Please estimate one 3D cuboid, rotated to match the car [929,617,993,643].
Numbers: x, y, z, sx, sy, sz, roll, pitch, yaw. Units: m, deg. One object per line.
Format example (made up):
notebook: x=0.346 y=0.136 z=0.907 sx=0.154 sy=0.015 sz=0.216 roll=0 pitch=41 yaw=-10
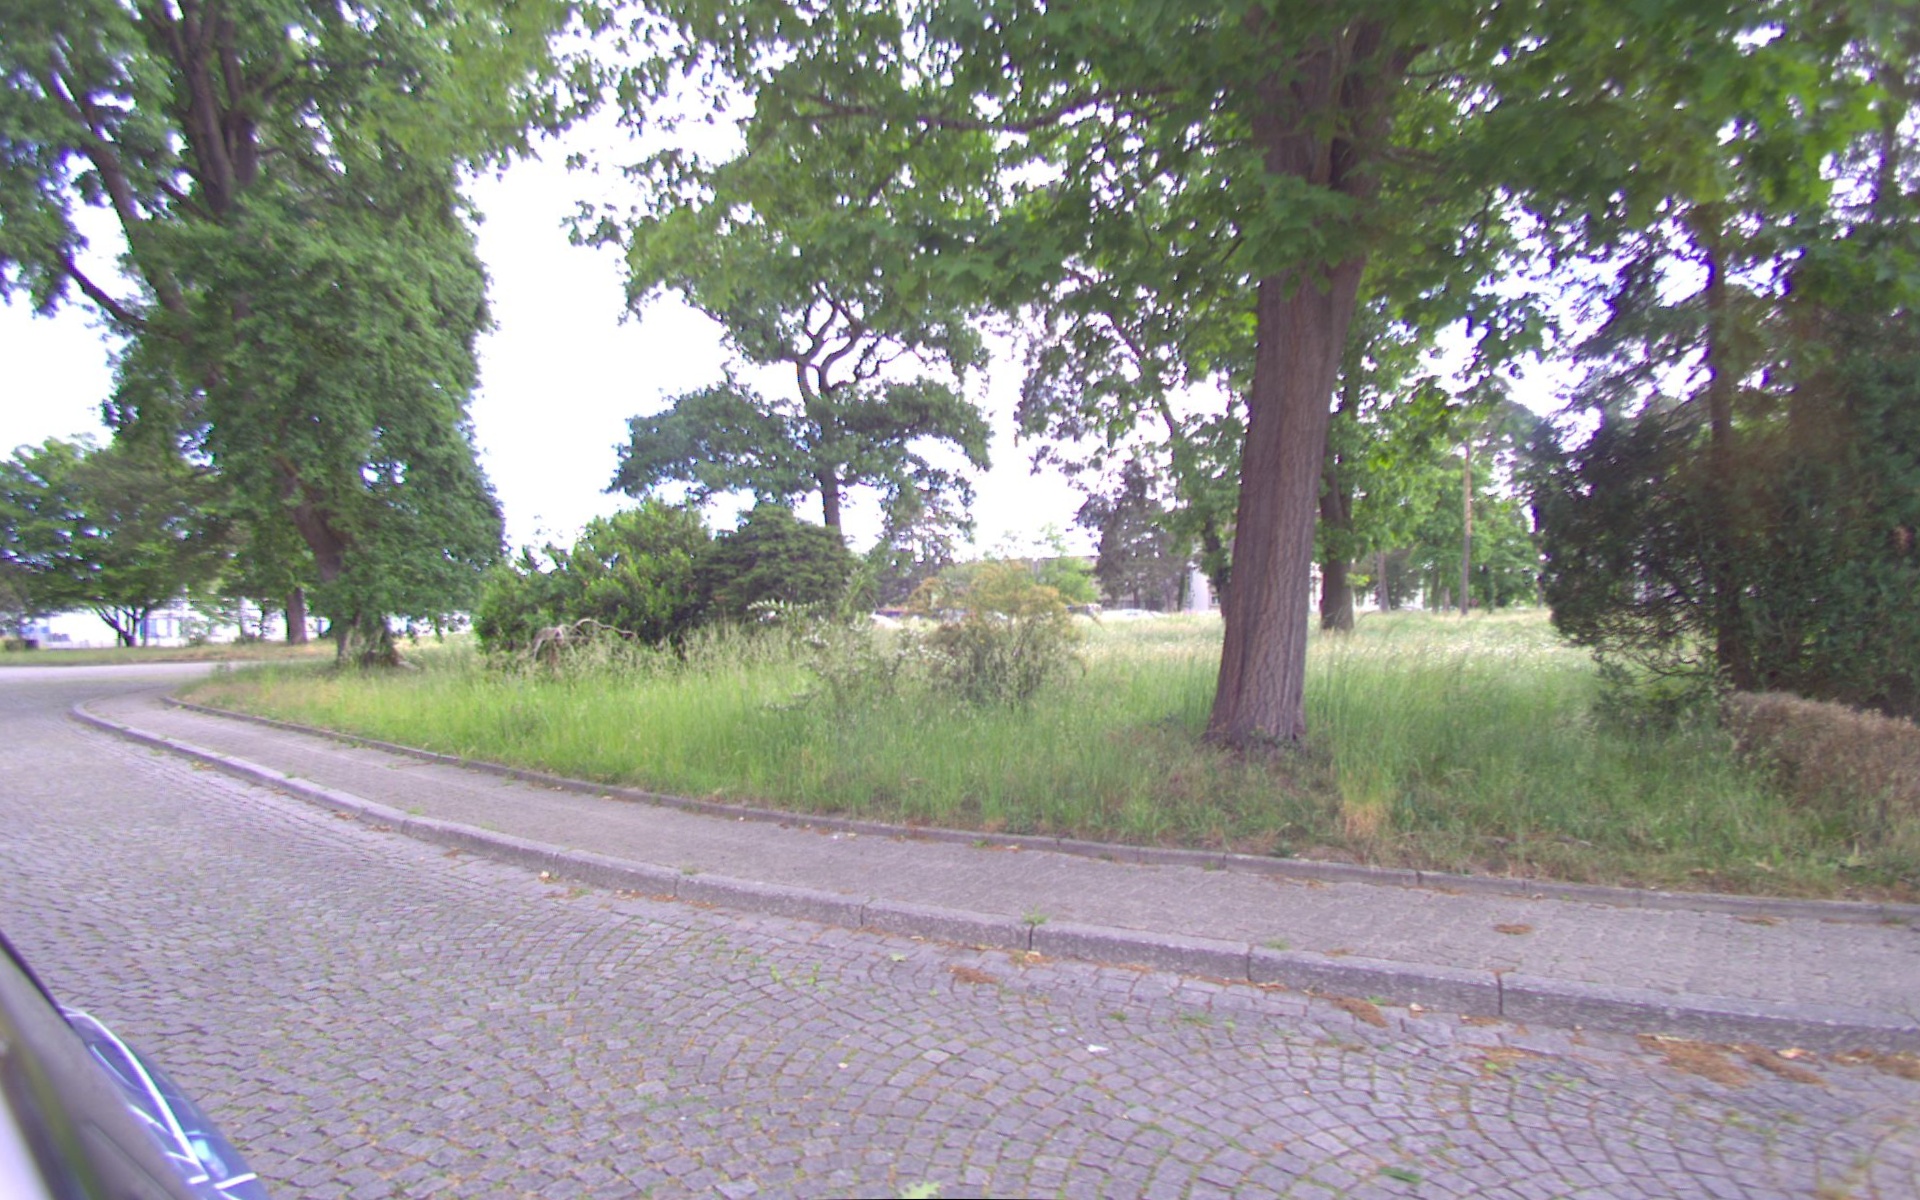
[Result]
car: x=0.030 y=1.796 z=60.323 sx=3.659 sy=1.432 sz=1.557 roll=-4 pitch=-3 yaw=39
